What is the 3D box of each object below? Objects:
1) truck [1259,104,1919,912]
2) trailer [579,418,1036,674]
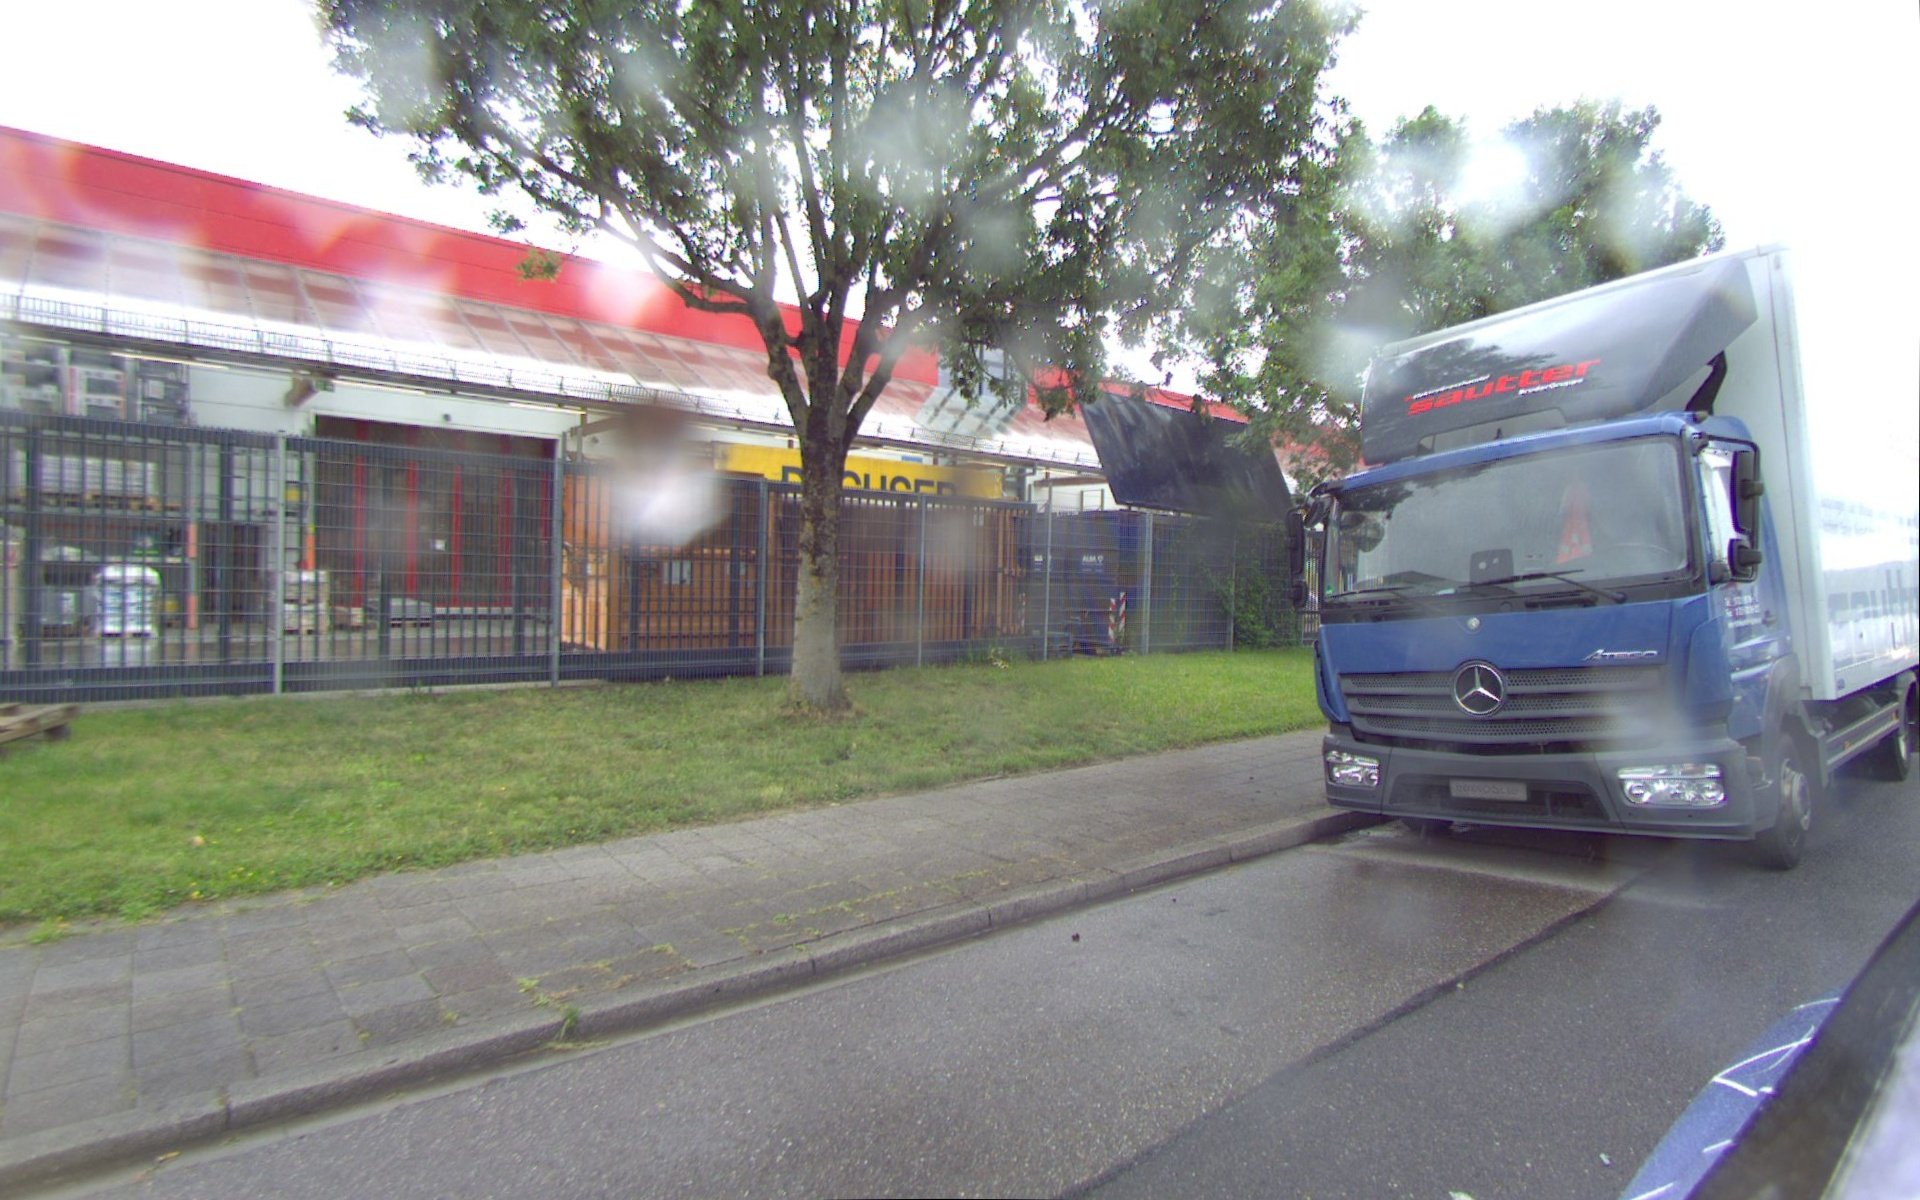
[{"bbox_3d":[5.881,-0.424,8.245,7.867,3.739,2.676,0,-1,-40],"label":"truck"},{"bbox_3d":[-2.769,-1.042,21.189,9.306,4.295,2.973,-1,2,-41],"label":"trailer"}]
